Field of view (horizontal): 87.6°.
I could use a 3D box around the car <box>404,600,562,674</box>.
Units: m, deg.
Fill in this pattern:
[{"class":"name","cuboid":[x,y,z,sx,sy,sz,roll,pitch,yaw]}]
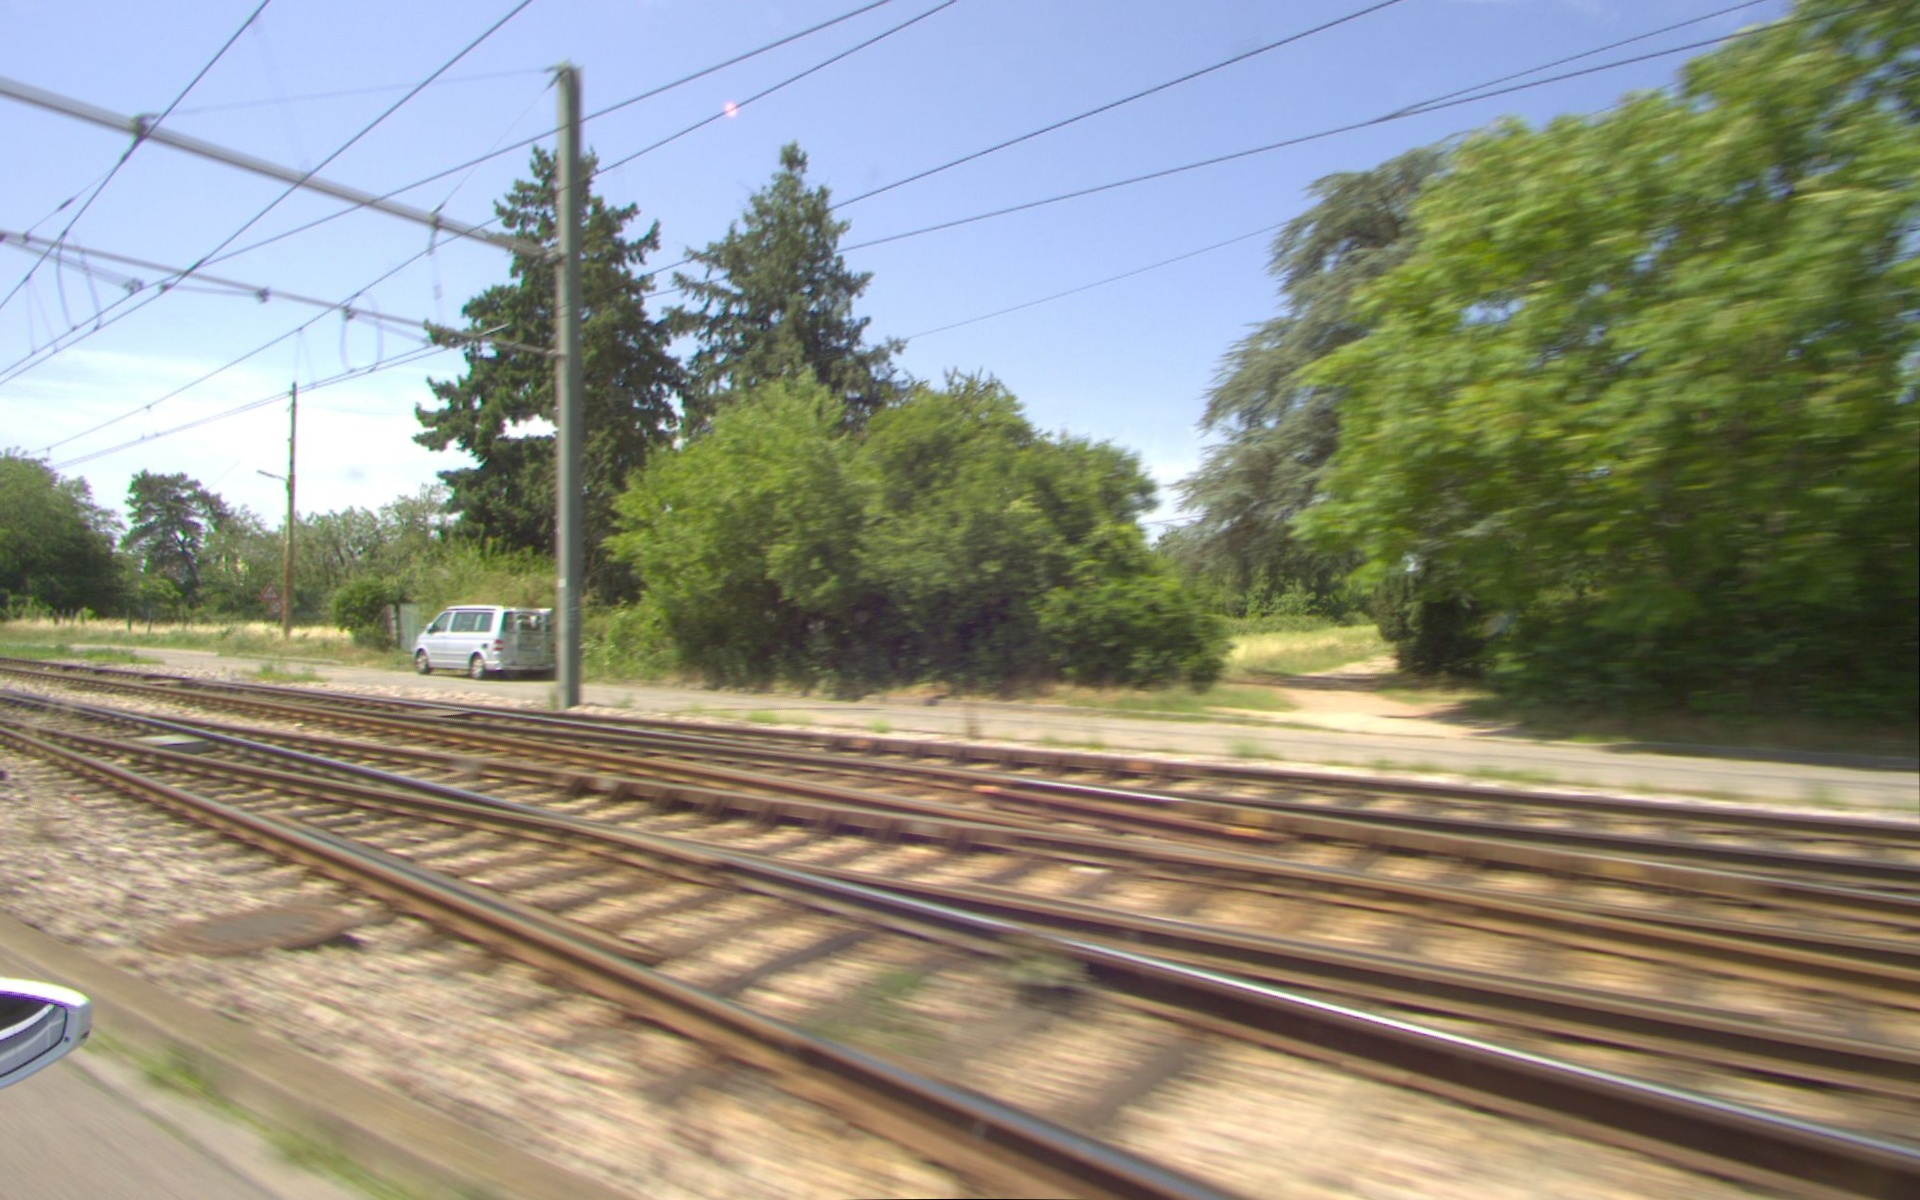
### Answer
[{"class":"car","cuboid":[-13.478,1.019,28.162,5.007,1.906,2.028,-1,-1,39]}]
